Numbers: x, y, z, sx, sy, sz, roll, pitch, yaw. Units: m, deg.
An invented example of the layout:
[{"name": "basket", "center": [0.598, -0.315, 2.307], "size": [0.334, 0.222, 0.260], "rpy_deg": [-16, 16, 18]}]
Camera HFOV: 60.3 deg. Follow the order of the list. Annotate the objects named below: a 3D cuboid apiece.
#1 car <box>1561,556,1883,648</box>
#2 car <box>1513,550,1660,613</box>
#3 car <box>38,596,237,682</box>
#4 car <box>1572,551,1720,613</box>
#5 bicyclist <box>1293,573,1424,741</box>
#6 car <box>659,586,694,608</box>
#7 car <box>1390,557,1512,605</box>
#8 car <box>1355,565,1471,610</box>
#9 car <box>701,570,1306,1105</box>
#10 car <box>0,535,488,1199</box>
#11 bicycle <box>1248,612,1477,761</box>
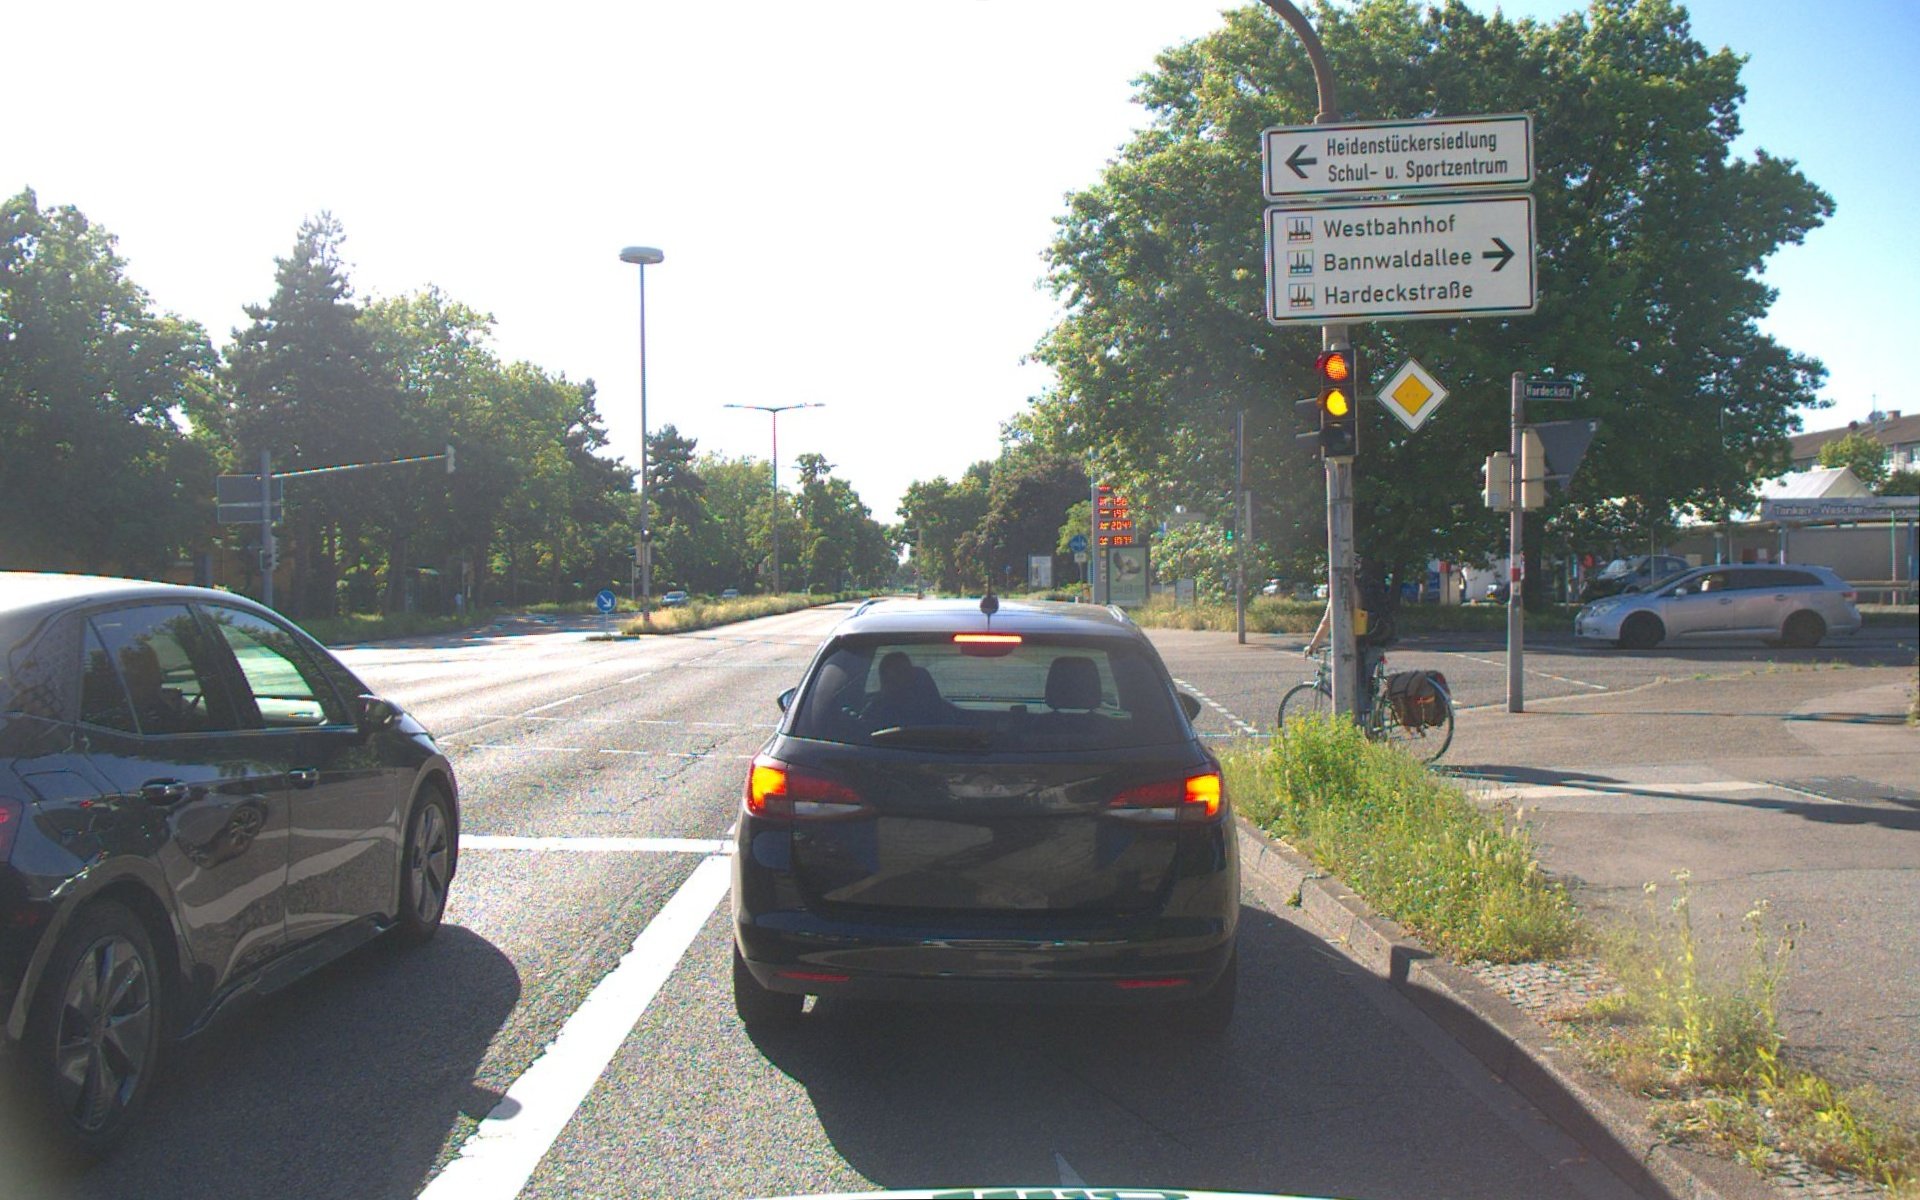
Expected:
[{"name": "car", "center": [13.537, 0.032, 29.698], "size": [4.897, 1.512, 2.002], "rpy_deg": [-1, 0, 11]}, {"name": "car", "center": [18.933, -0.571, 49.996], "size": [3.935, 1.780, 1.985], "rpy_deg": [-1, 1, -24]}, {"name": "car", "center": [-15.612, 0.688, 31.632], "size": [1.740, 1.488, 4.164], "rpy_deg": [-1, 0, -1]}, {"name": "car", "center": [19.988, -0.531, 48.190], "size": [3.934, 1.709, 1.732], "rpy_deg": [-2, 0, -24]}, {"name": "bicyclist", "center": [3.215, 0.459, 13.365], "size": [0.534, 1.299, 0.816], "rpy_deg": [-2, -2, -44]}, {"name": "car", "center": [-21.142, -0.208, 123.570], "size": [1.953, 1.556, 3.999], "rpy_deg": [-2, 0, -1]}, {"name": "car", "center": [16.908, -0.648, 56.979], "size": [3.837, 1.544, 1.732], "rpy_deg": [-2, 0, -24]}, {"name": "car", "center": [16.431, -0.460, 60.054], "size": [3.837, 1.544, 1.732], "rpy_deg": [-2, 0, -24]}, {"name": "car", "center": [0.099, 0.684, 6.832], "size": [1.721, 1.521, 4.206], "rpy_deg": [0, 0, -1]}, {"name": "car", "center": [-3.001, 0.658, 5.600], "size": [1.650, 1.608, 4.206], "rpy_deg": [0, 0, -1]}, {"name": "bicycle", "center": [3.223, 0.700, 13.366], "size": [0.533, 1.117, 1.748], "rpy_deg": [-2, -2, -44]}]
